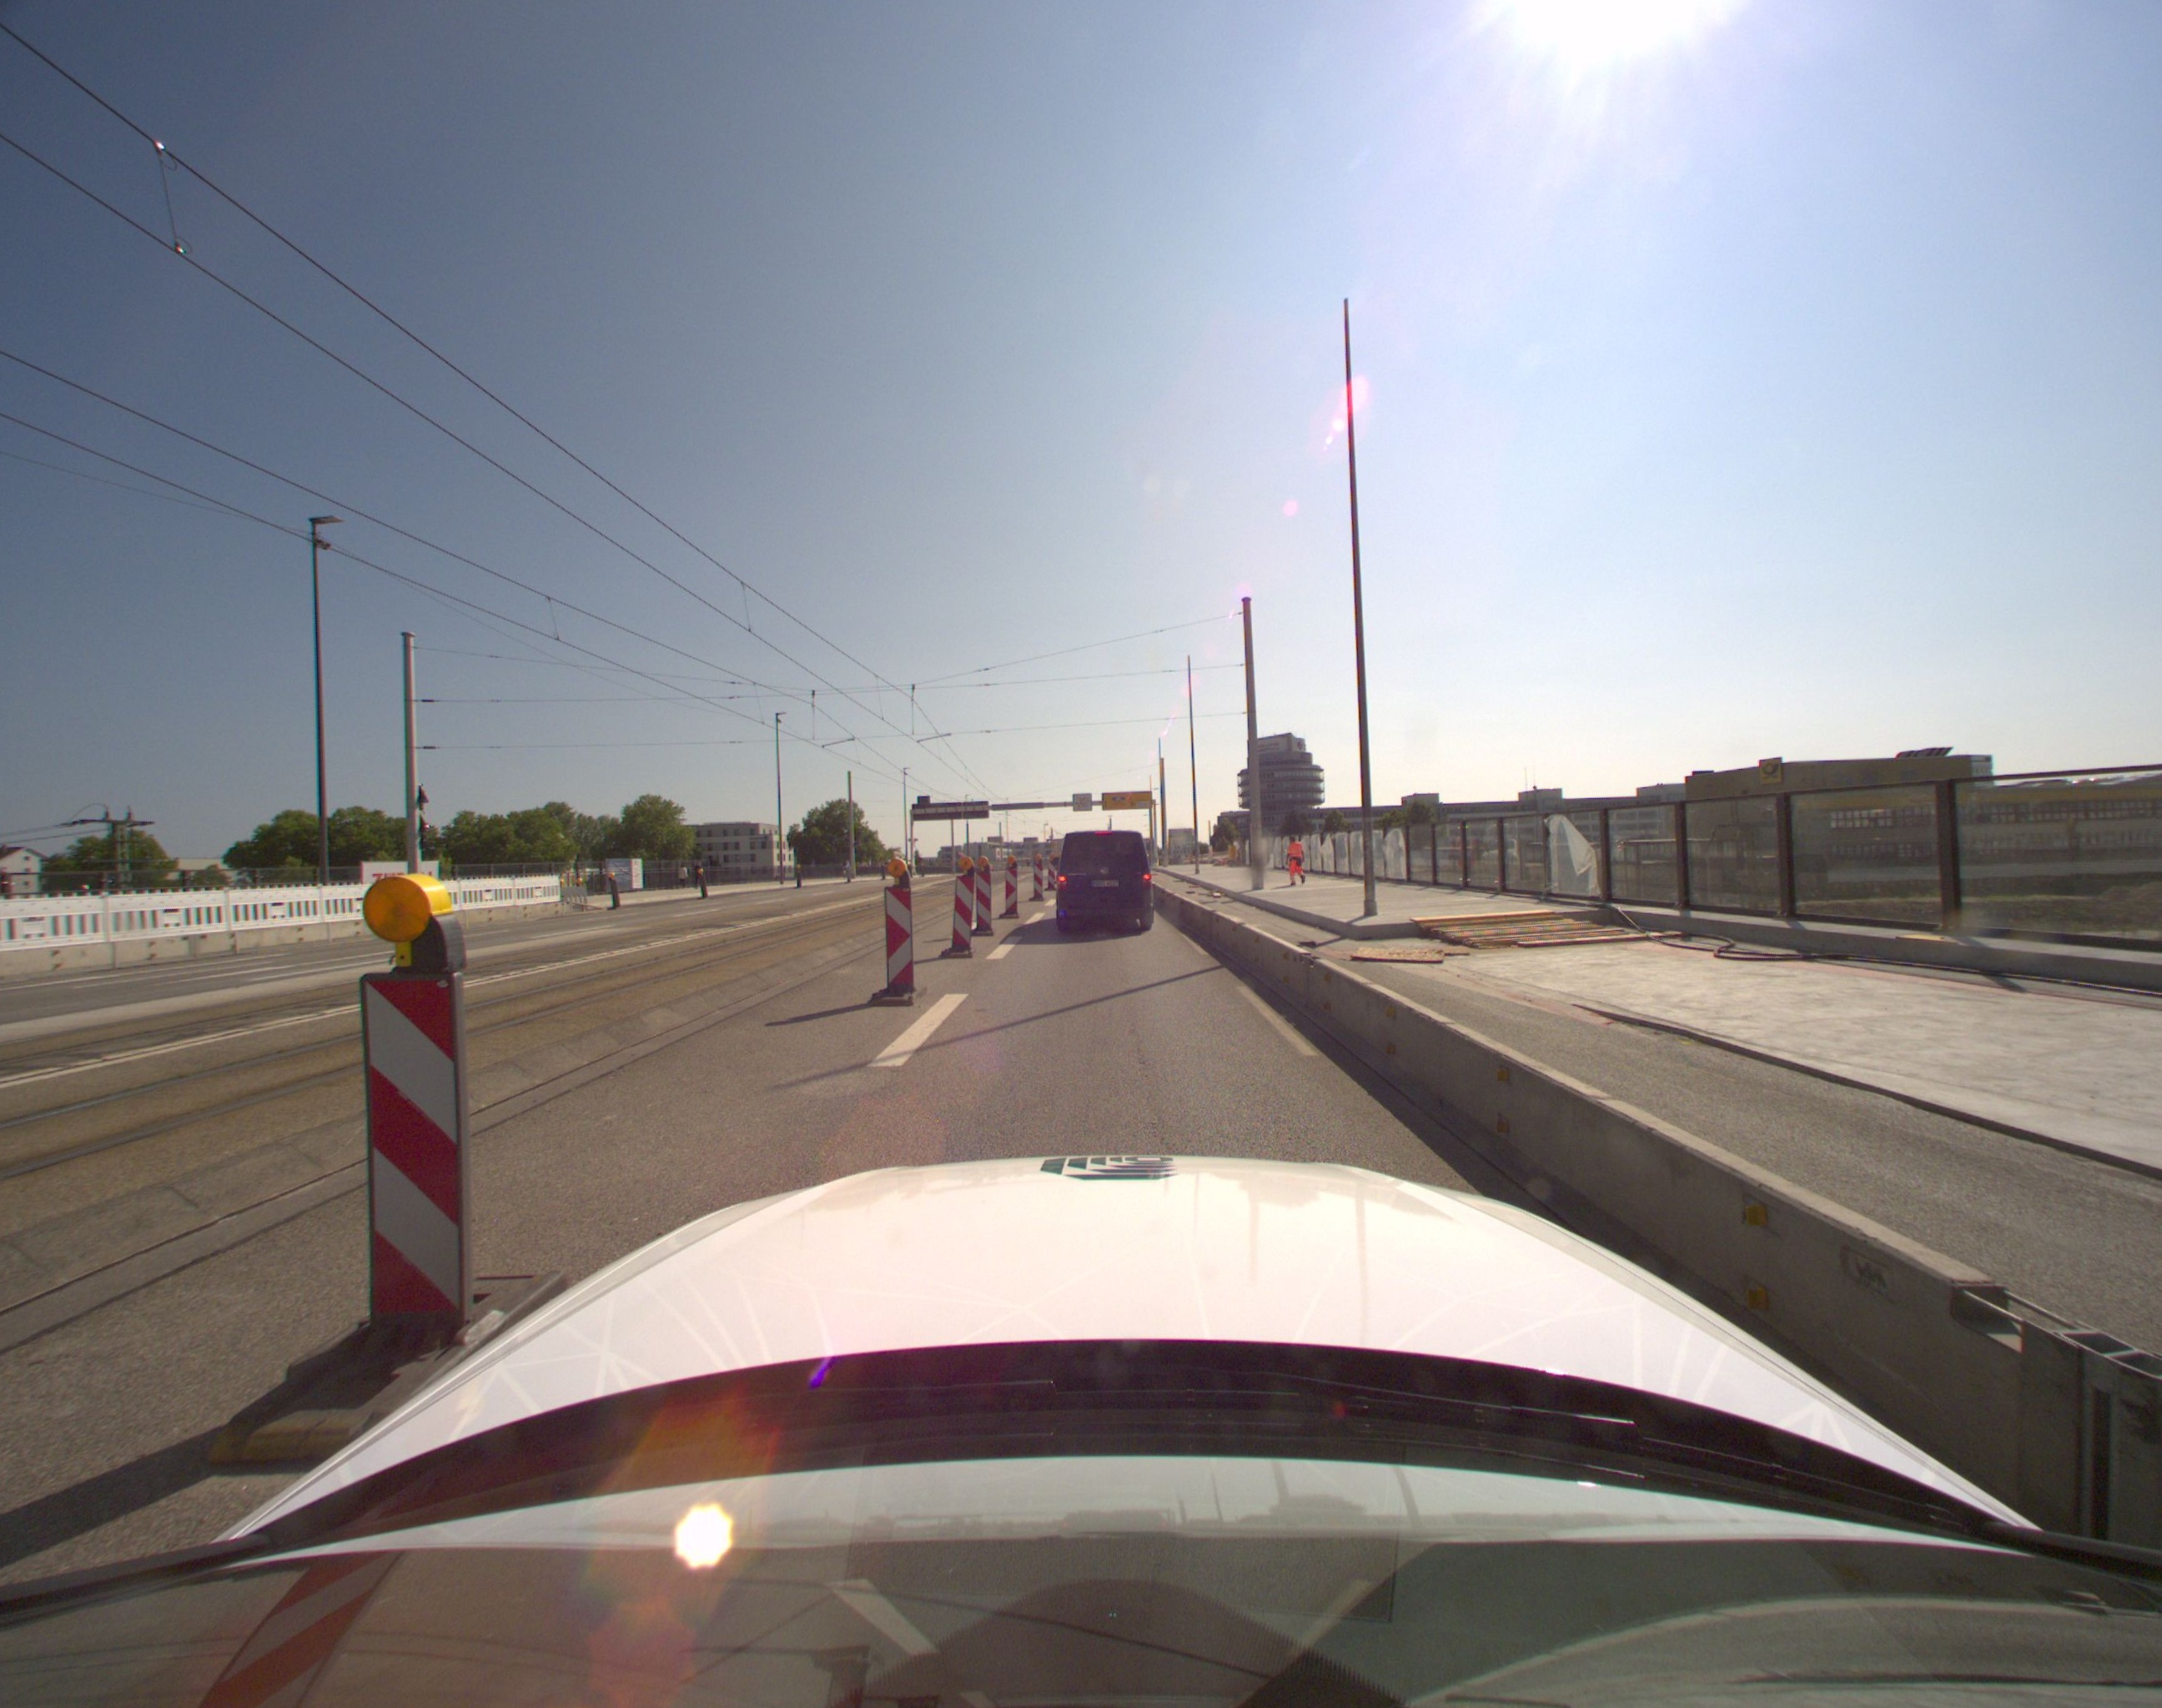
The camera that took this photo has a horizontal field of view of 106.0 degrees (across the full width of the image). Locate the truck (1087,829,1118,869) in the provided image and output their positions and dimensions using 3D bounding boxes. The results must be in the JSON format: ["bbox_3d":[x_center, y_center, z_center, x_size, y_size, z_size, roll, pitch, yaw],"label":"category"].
[{"bbox_3d":[1.891,-0.486,71.562,2.451,3.134,11.220,-2,1,1],"label":"truck"}]

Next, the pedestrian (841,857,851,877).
[{"bbox_3d":[-21.707,1.203,75.343,0.632,1.893,0.752,-1,0,1],"label":"pedestrian"}]

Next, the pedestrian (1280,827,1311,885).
[{"bbox_3d":[7.367,0.064,28.025,0.779,1.935,0.799,-3,-1,1],"label":"pedestrian"}]

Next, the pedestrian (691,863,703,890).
[{"bbox_3d":[-24.371,1.395,51.673,0.493,1.694,0.474,-1,-1,1],"label":"pedestrian"}]

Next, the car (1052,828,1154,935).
[{"bbox_3d":[0.424,0.480,17.056,1.809,1.905,4.054,-2,1,0],"label":"car"}]

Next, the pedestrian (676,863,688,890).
[{"bbox_3d":[-25.390,1.417,51.838,0.493,1.694,0.474,-1,-1,1],"label":"pedestrian"}]

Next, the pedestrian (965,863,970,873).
[{"bbox_3d":[-19.379,2.405,139.367,0.632,1.774,0.752,-1,0,1],"label":"pedestrian"}]
